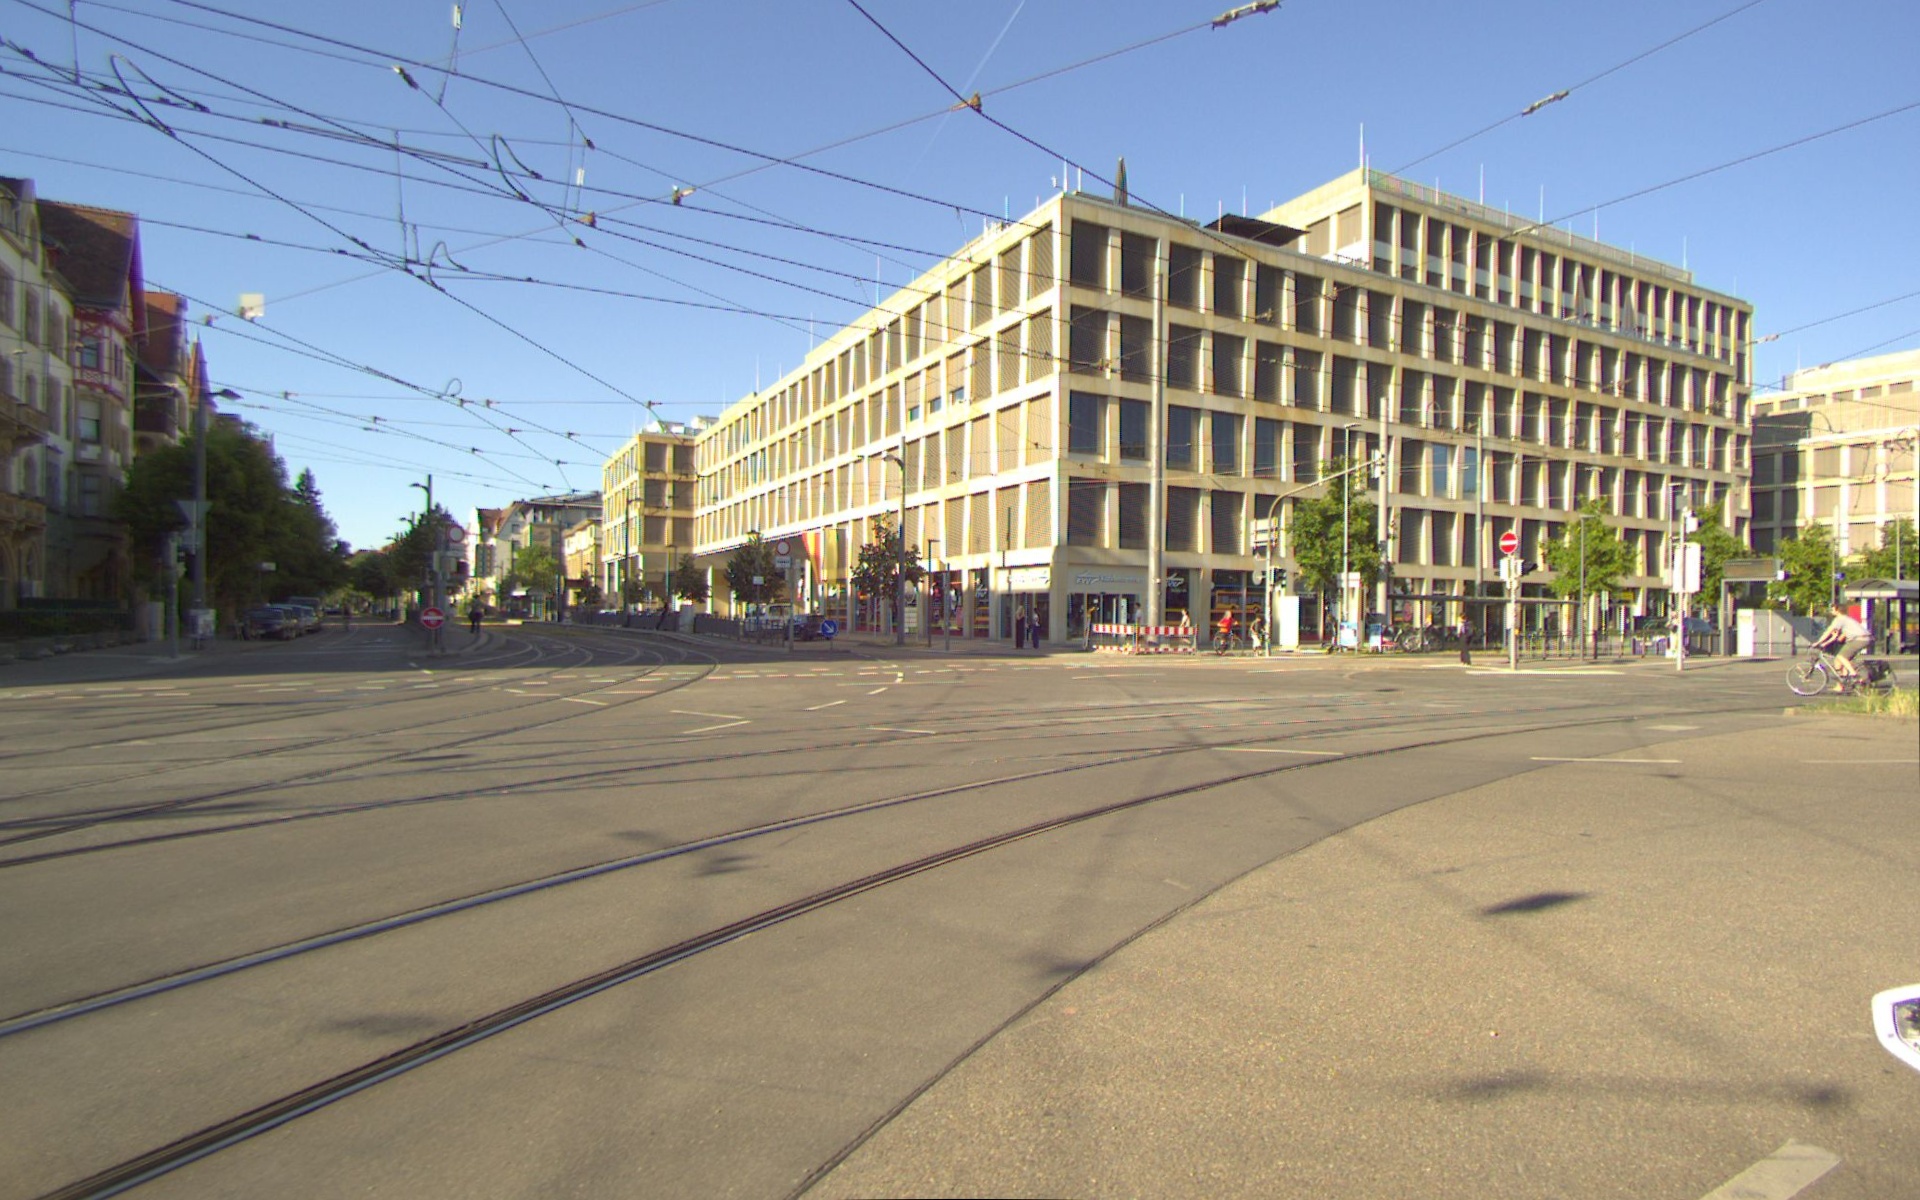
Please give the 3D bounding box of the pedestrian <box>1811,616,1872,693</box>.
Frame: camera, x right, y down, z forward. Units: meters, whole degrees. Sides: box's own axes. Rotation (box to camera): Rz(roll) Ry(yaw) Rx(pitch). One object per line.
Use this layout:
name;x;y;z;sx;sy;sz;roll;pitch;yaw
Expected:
pedestrian;19.672;1.193;22.426;0.790;1.666;0.922;1;-1;-41

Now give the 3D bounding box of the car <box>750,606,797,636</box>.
car;-11.062;1.223;59.476;1.631;1.683;3.621;1;-1;-30

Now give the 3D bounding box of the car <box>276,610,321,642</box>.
car;-34.165;1.307;51.947;1.707;1.595;3.967;1;-1;-31

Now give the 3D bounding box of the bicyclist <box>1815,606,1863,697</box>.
bicyclist;17.988;1.037;20.560;0.642;1.832;0.660;1;0;-41

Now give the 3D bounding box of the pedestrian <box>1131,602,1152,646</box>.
pedestrian;7.086;0.940;39.183;0.574;1.704;0.613;1;0;-23

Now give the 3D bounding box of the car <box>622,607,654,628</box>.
car;-28.745;1.558;89.703;1.976;1.822;3.841;1;-1;-30

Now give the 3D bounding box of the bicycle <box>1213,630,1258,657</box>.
bicycle;9.932;1.558;36.271;0.598;0.890;1.882;1;-1;-19

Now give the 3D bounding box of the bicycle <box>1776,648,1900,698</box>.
bicycle;17.964;1.474;20.579;0.510;0.923;1.866;2;-1;-41

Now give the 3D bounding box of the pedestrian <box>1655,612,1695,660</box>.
pedestrian;24.940;1.253;35.042;0.921;1.666;0.791;1;0;-27

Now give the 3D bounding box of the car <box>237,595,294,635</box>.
car;-29.656;0.633;42.969;1.707;1.595;3.967;1;-1;-31

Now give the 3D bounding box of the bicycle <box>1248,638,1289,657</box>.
bicycle;11.160;1.720;36.423;0.504;0.617;1.720;2;0;-19

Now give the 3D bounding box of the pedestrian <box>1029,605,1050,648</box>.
pedestrian;3.178;1.069;40.202;0.576;1.704;0.612;1;0;-30

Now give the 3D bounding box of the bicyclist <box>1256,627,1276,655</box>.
bicyclist;11.128;1.492;36.531;0.503;1.006;0.461;1;0;-18

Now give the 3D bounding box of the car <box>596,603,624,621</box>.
car;-35.248;1.200;101.005;1.976;1.847;3.968;1;-1;-30

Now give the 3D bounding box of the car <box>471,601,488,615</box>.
car;-74.470;1.207;155.663;1.976;2.040;3.968;1;-1;-30

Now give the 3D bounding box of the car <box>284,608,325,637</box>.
car;-37.182;1.247;57.027;1.707;1.595;3.967;1;-1;-31

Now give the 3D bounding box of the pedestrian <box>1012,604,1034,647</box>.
pedestrian;2.554;1.025;40.692;0.632;1.704;0.612;1;-1;-31

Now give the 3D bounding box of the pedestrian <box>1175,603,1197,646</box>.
pedestrian;8.944;0.959;39.799;0.576;1.704;0.612;1;0;-30

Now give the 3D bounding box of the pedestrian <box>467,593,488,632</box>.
pedestrian;-21.671;0.565;45.138;0.606;1.704;0.581;0;0;29

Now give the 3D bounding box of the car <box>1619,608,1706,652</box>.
car;33.784;1.419;48.272;3.953;2.040;1.984;1;-1;-30

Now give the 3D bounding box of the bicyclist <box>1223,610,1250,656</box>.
bicyclist;9.969;1.180;36.226;0.673;1.640;0.627;1;0;-20

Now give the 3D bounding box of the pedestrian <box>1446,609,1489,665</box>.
pedestrian;15.306;1.106;30.290;0.790;1.666;0.922;1;-1;-41

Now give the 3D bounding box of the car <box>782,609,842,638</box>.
car;-8.048;1.243;54.388;1.869;1.483;3.968;1;-1;-30
